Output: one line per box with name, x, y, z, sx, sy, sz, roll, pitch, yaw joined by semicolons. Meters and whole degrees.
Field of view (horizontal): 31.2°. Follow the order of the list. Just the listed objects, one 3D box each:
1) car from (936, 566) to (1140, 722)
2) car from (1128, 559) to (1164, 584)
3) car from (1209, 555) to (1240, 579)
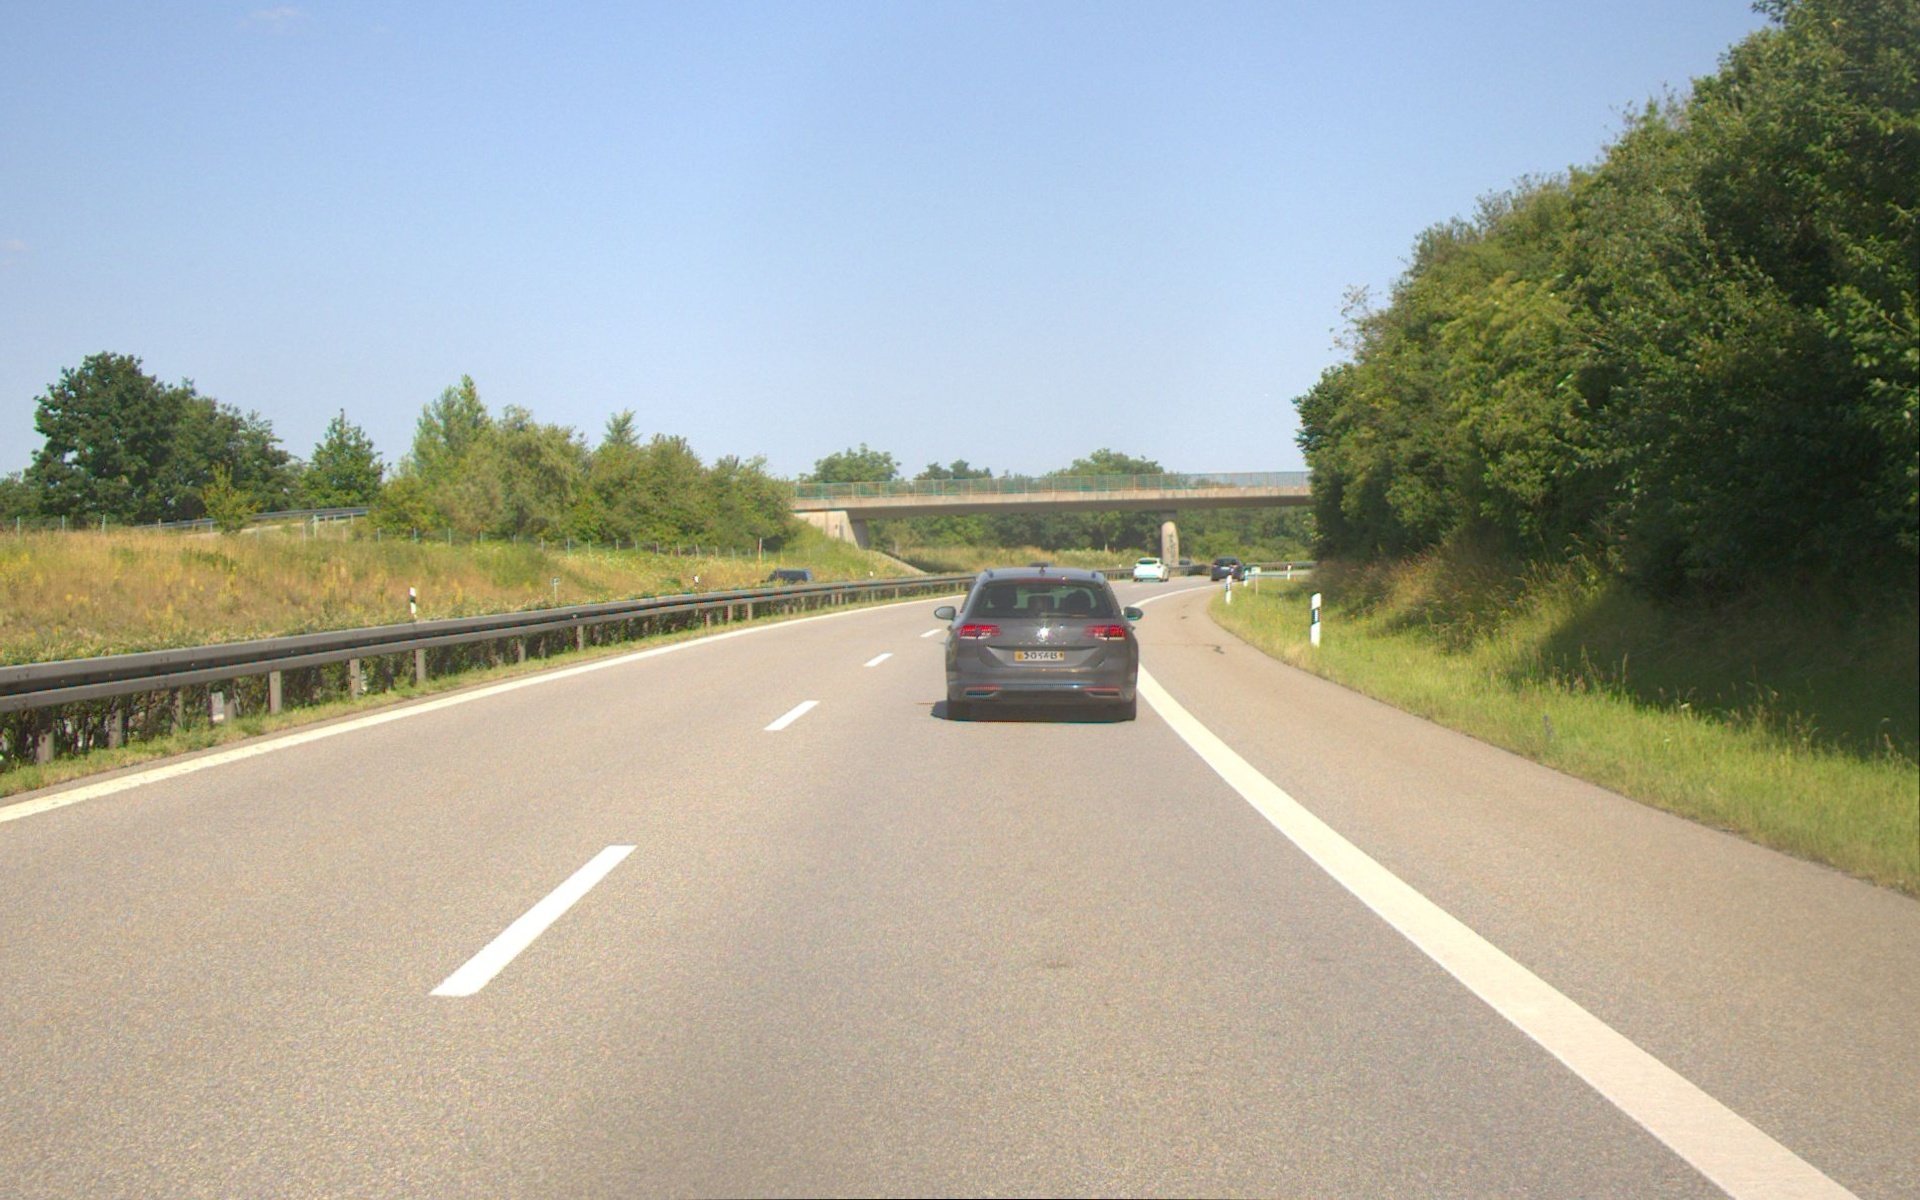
car;0.804;0.379;32.998;1.791;1.340;4.000;2;1;3
car;11.017;-1.694;203.105;2.007;1.340;3.999;1;-1;4
car;16.116;-2.015;209.428;1.711;1.382;3.355;1;-1;2
